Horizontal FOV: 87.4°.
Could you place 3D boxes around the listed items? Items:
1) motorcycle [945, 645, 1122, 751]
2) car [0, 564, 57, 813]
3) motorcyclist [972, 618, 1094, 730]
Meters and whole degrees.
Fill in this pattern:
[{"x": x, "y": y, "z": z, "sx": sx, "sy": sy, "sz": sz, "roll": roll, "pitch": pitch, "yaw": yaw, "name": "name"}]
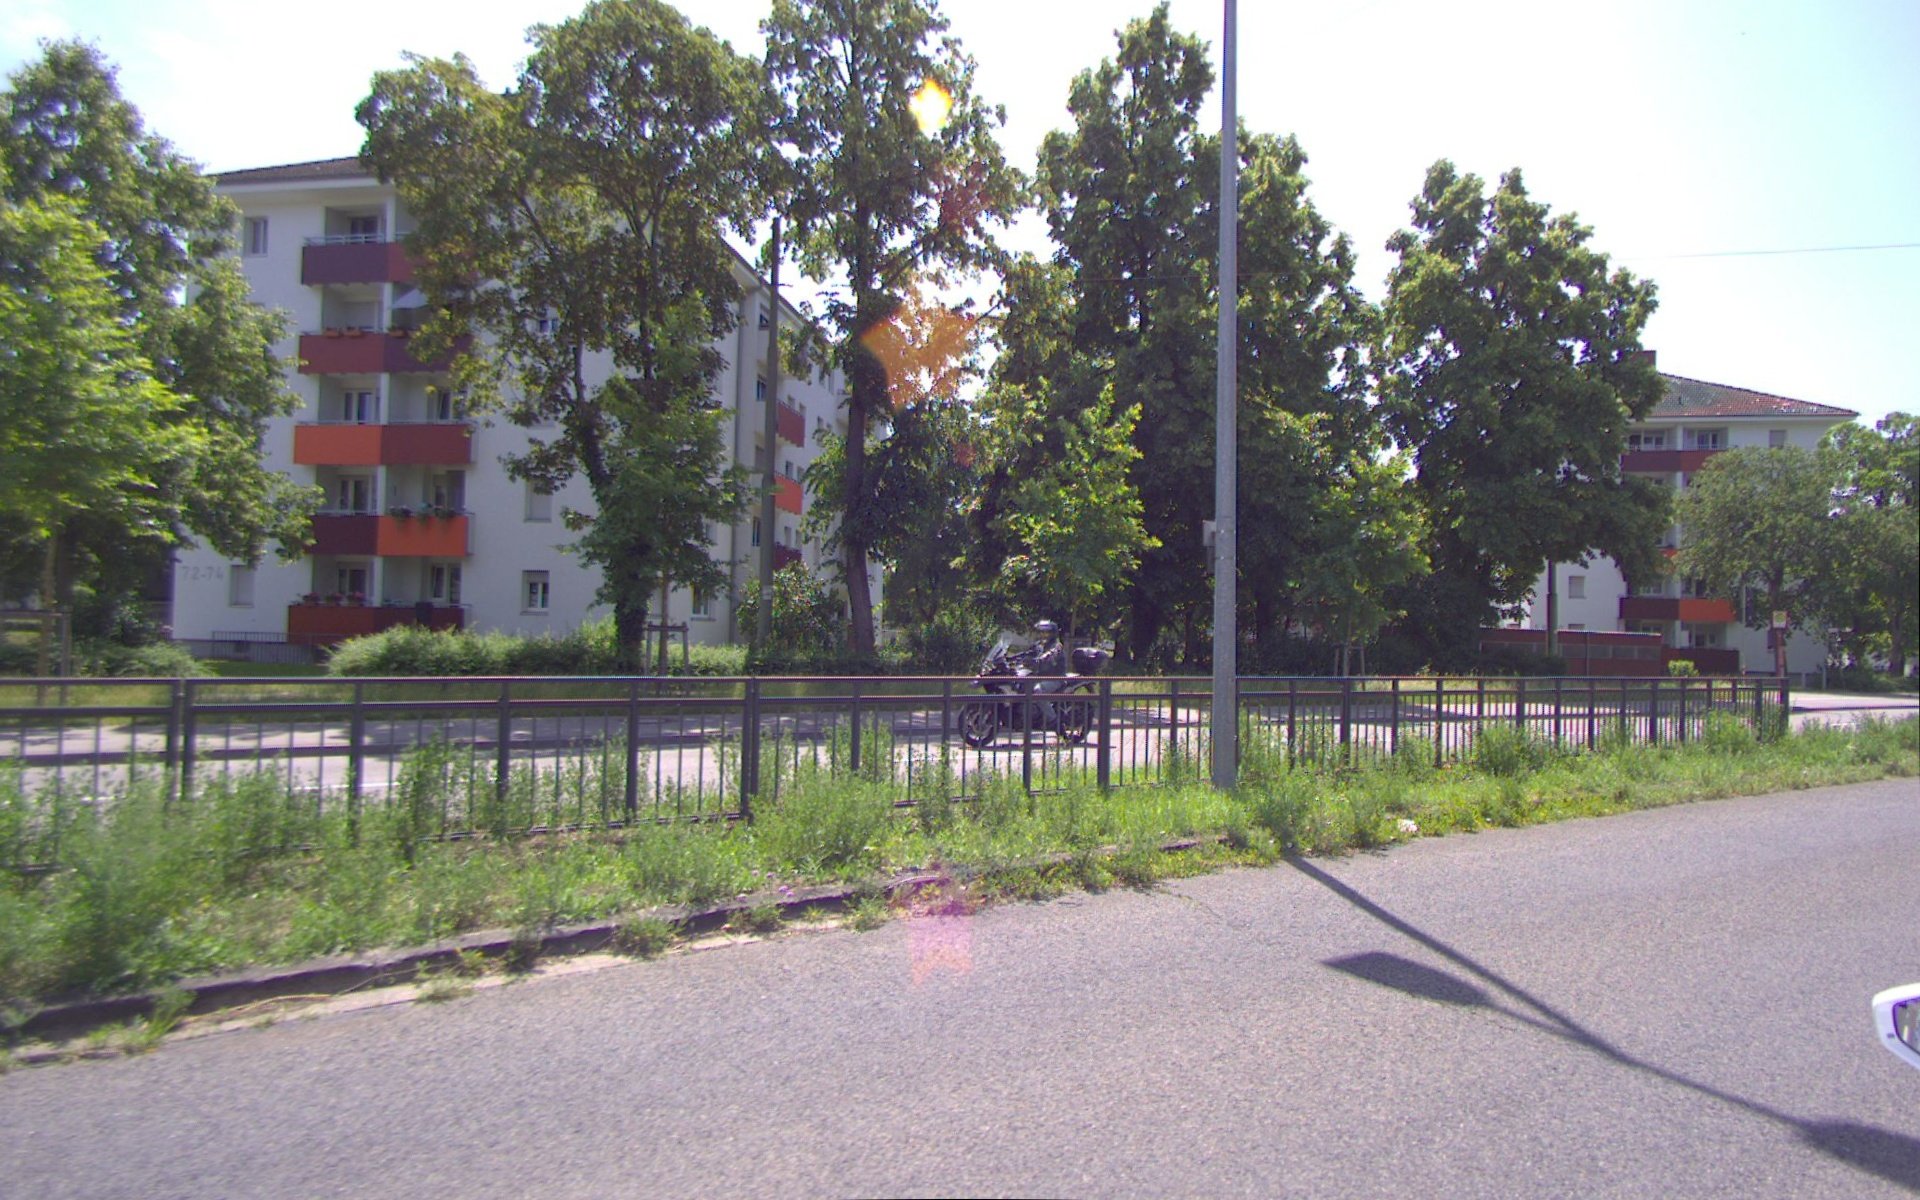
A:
[{"x": 1.025, "y": 1.296, "z": 13.588, "sx": 2.369, "sy": 1.316, "sz": 0.801, "roll": 3, "pitch": -3, "yaw": -32, "name": "motorcycle"}, {"x": -7.936, "y": 0.485, "z": 5.512, "sx": 4.116, "sy": 1.563, "sz": 1.746, "roll": 3, "pitch": -3, "yaw": -33, "name": "car"}, {"x": 0.988, "y": 0.981, "z": 13.522, "sx": 1.498, "sy": 1.422, "sz": 0.731, "roll": 3, "pitch": -3, "yaw": -35, "name": "motorcyclist"}]
